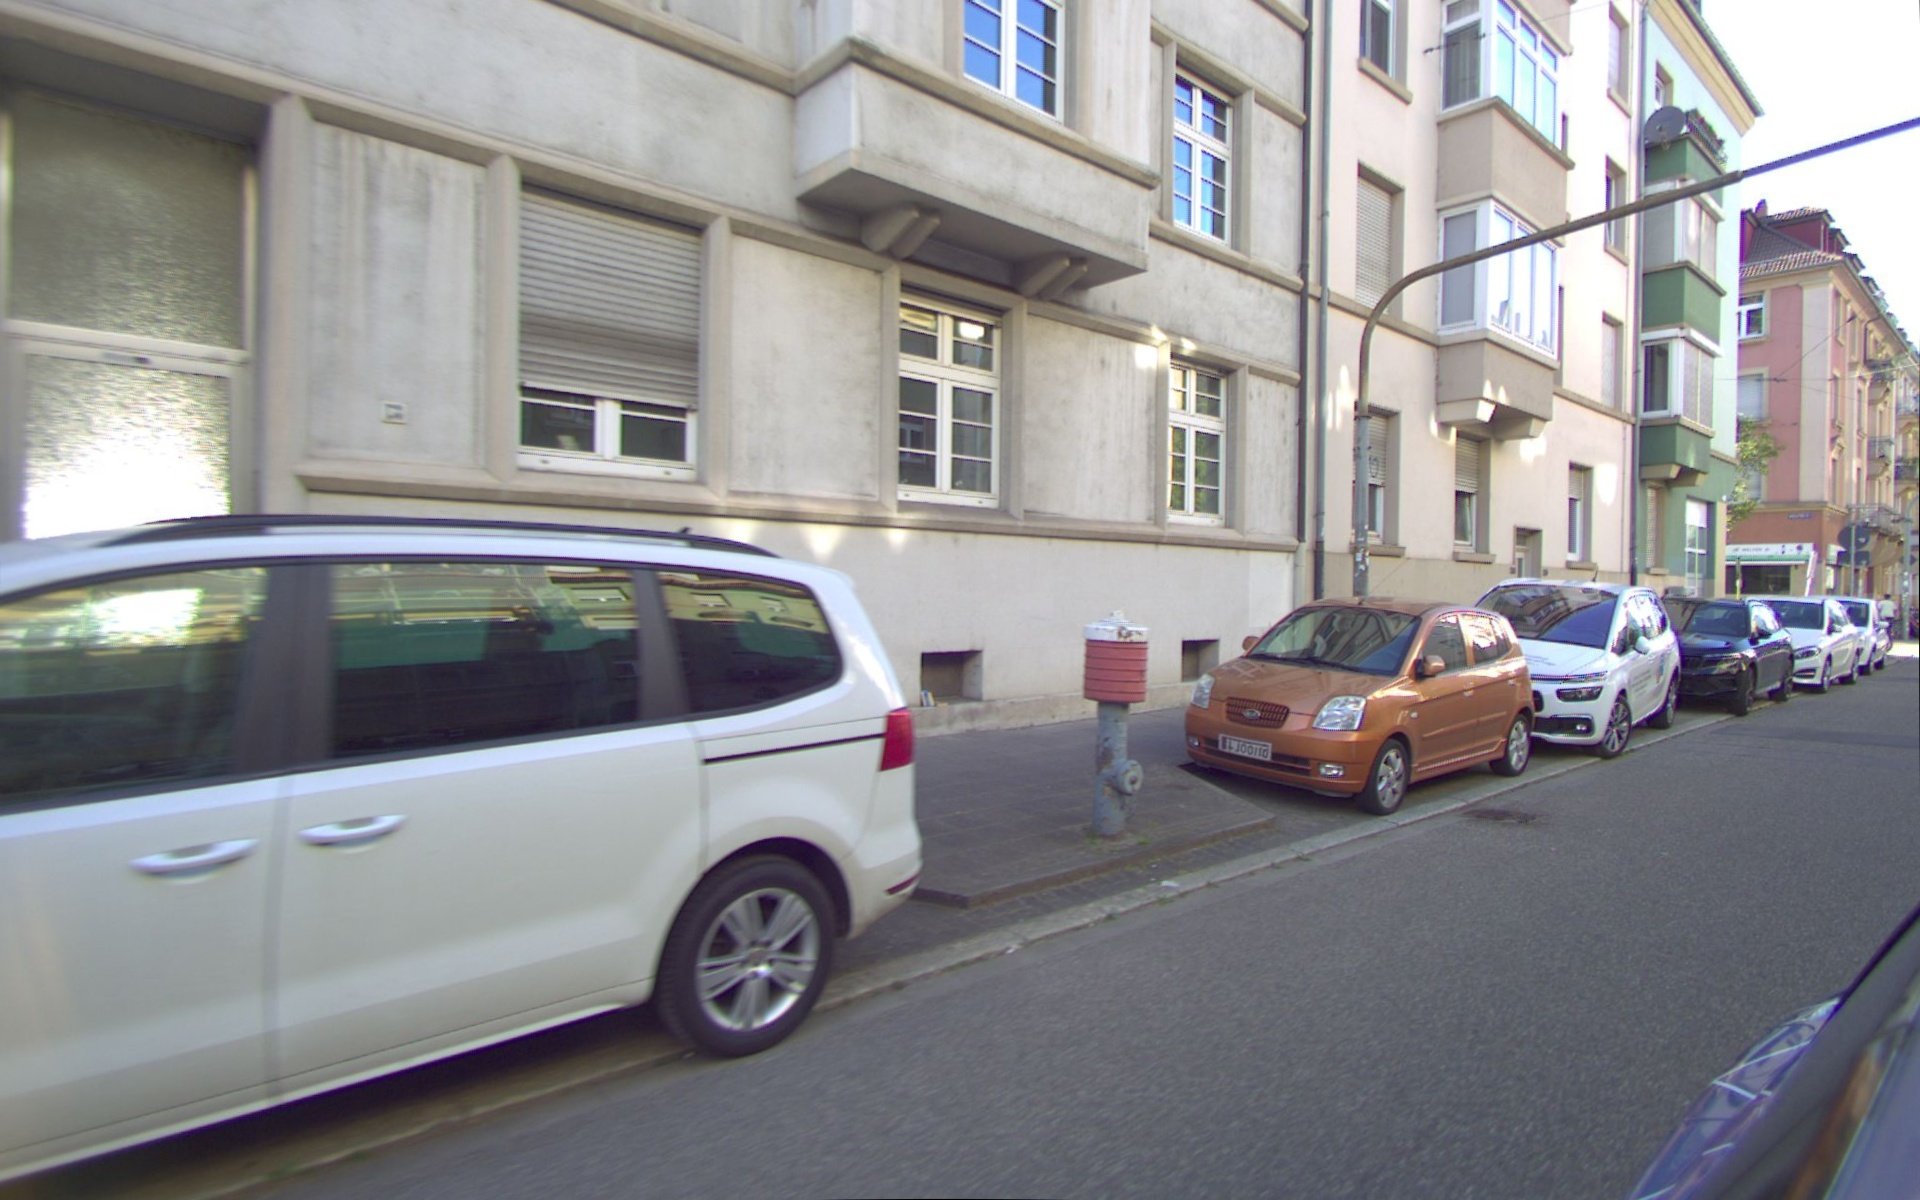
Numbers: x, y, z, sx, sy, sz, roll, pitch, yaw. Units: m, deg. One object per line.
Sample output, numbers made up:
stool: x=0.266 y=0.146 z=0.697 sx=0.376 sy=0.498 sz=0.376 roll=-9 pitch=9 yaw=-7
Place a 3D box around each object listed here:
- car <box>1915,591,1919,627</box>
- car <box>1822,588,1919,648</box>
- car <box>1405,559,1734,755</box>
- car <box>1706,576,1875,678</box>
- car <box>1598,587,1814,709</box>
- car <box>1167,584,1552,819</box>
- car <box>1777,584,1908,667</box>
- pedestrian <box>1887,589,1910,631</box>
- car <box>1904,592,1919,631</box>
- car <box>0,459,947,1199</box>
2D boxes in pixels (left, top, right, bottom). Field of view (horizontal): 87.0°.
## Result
car: x=40.244 y=0.392 z=40.894 sx=3.661 sy=1.437 sz=1.997 roll=0 pitch=2 yaw=-41
car: x=25.370 y=0.452 z=28.075 sx=3.714 sy=1.492 sz=1.702 roll=0 pitch=2 yaw=-42
car: x=6.718 y=0.481 z=10.989 sx=4.112 sy=1.719 sz=1.703 roll=0 pitch=2 yaw=-39
car: x=14.749 y=0.406 z=17.905 sx=3.892 sy=1.610 sz=1.702 roll=0 pitch=1 yaw=-41
car: x=10.885 y=0.598 z=14.684 sx=3.795 sy=1.524 sz=1.702 roll=0 pitch=1 yaw=-40
car: x=3.372 y=0.653 z=8.318 sx=3.306 sy=1.502 sz=1.570 roll=0 pitch=2 yaw=-41
car: x=19.036 y=0.496 z=21.803 sx=3.296 sy=1.610 sz=1.702 roll=0 pitch=2 yaw=-42
pedestrian: x=34.324 y=0.349 z=37.010 sx=0.483 sy=1.510 sz=0.526 roll=0 pitch=1 yaw=-41
car: x=37.131 y=0.436 z=38.030 sx=3.661 sy=1.437 sz=1.997 roll=0 pitch=2 yaw=-41
car: x=-2.313 y=0.521 z=3.045 sx=4.510 sy=1.714 sz=1.712 roll=0 pitch=2 yaw=-42
